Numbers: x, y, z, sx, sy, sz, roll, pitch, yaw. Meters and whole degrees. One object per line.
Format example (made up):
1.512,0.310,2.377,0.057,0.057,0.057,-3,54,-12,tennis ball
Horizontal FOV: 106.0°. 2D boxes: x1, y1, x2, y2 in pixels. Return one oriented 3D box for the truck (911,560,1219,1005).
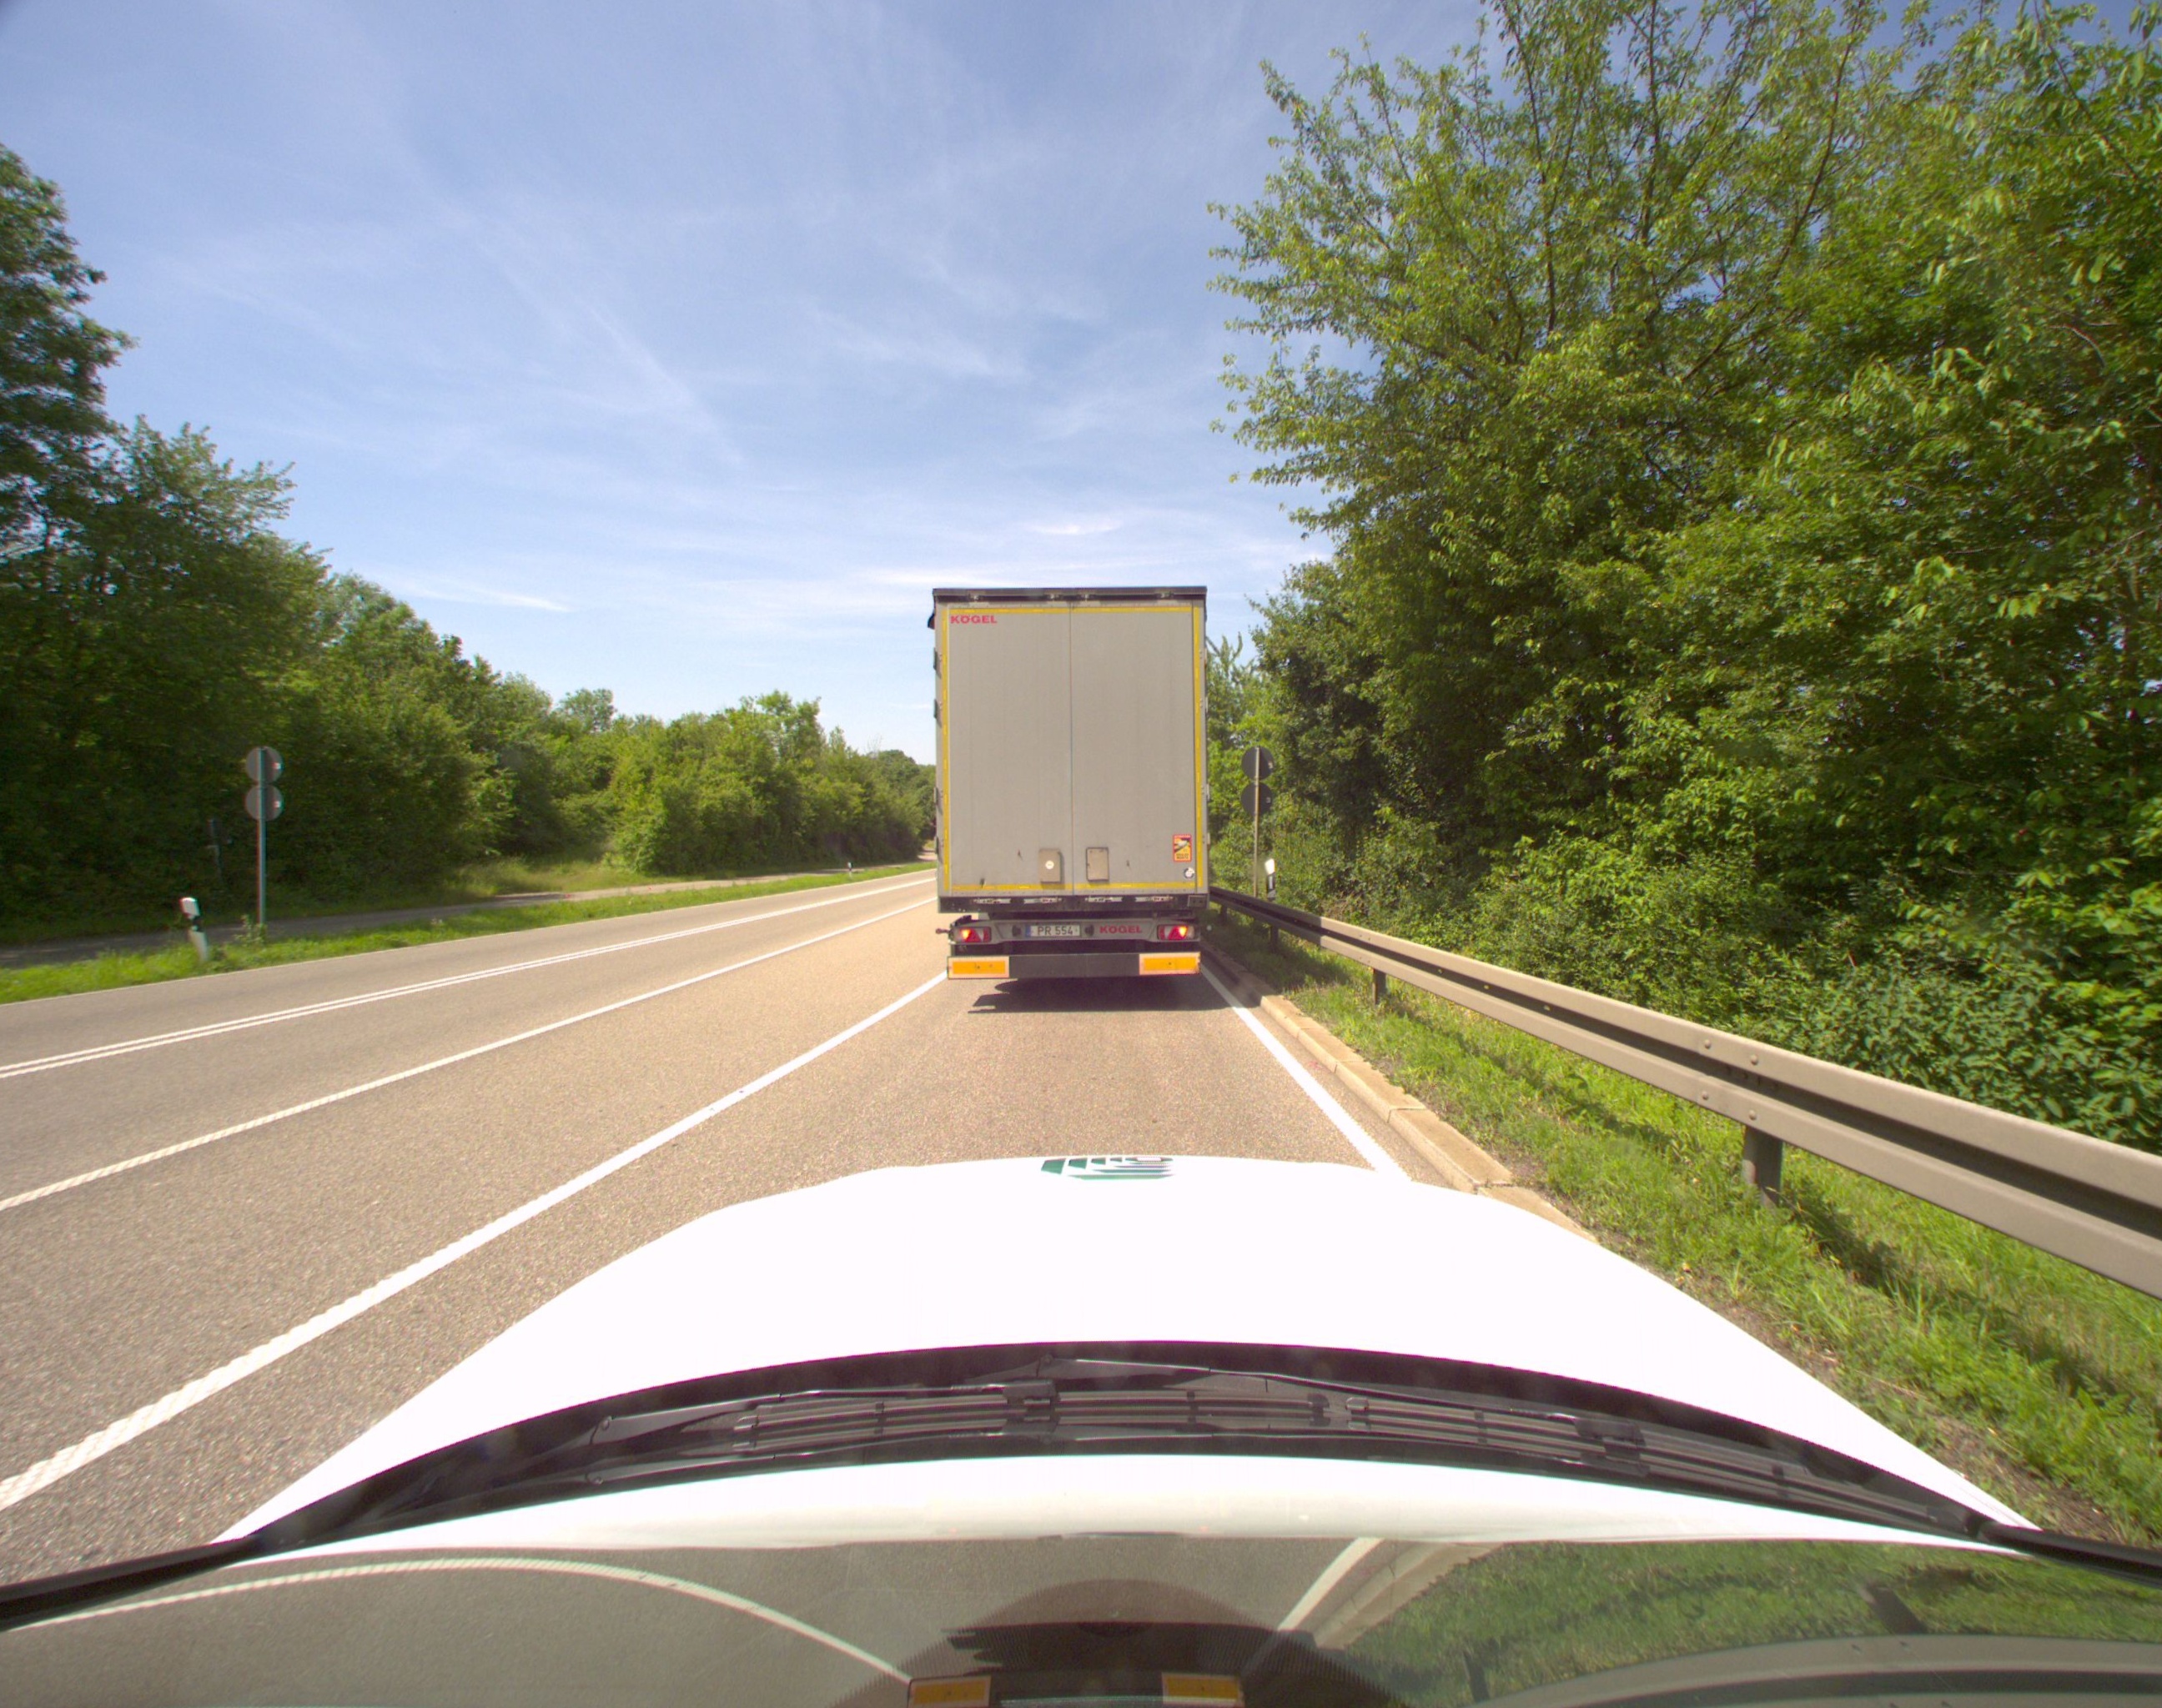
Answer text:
-0.024,-0.698,13.406,2.747,4.029,11.926,-1,0,1,truck
